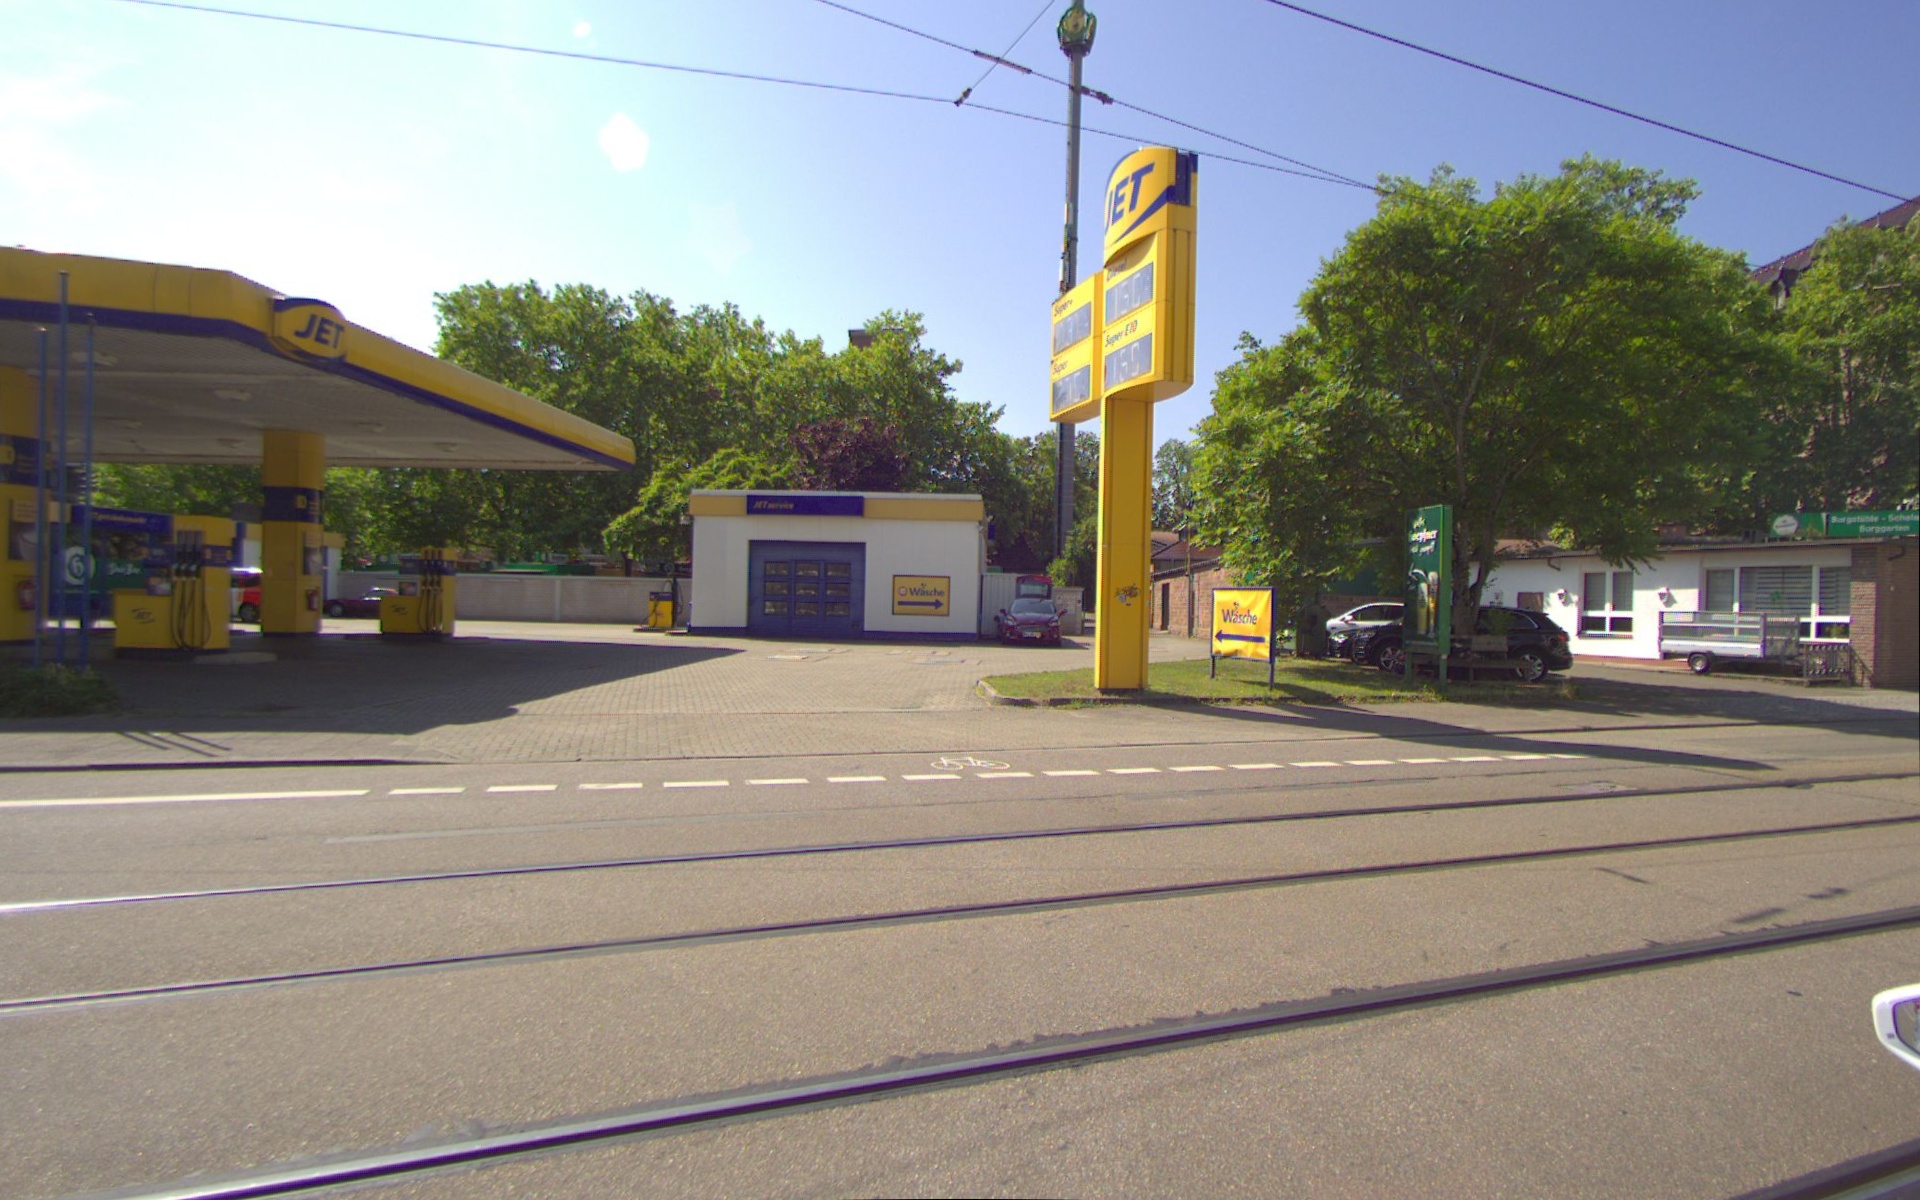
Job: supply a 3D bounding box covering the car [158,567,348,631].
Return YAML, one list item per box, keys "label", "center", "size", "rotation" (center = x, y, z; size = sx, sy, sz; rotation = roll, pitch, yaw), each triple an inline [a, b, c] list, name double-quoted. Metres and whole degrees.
- label: "car"
  center: [-24.179, -0.033, 34.481]
  size: [5.203, 2.009, 1.761]
  rotation: [2, 0, -1]

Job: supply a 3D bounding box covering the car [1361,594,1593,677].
- label: "car"
  center: [11.759, 0.770, 23.250]
  size: [4.569, 1.662, 2.019]
  rotation: [2, 0, 22]

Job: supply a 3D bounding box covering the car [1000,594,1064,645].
- label: "car"
  center: [2.284, 0.588, 31.747]
  size: [1.854, 1.480, 4.558]
  rotation: [0, 0, 4]

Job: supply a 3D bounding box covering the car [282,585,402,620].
- label: "car"
  center: [-26.440, 0.103, 43.067]
  size: [4.050, 1.378, 1.761]
  rotation: [2, 0, 1]

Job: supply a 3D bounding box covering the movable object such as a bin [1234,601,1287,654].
- label: "movable object such as a bin"
  center: [8.843, 0.808, 29.602]
  size: [1.304, 1.522, 1.331]
  rotation: [1, -2, 7]

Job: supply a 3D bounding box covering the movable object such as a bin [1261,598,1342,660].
- label: "movable object such as a bin"
  center: [8.701, 0.732, 25.641]
  size: [1.358, 1.522, 1.416]
  rotation: [1, 0, -18]

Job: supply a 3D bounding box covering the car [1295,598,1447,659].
- label: "car"
  center: [11.870, 0.797, 29.189]
  size: [3.922, 1.578, 1.846]
  rotation: [2, 0, 22]

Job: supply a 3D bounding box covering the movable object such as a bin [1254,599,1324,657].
- label: "movable object such as a bin"
  center: [9.000, 0.751, 27.536]
  size: [1.353, 1.522, 1.421]
  rotation: [1, 0, -6]

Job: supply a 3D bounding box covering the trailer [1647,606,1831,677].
- label: "trailer"
  center: [19.636, 1.015, 25.463]
  size: [1.697, 1.624, 3.269]
  rotation: [2, 0, -20]
